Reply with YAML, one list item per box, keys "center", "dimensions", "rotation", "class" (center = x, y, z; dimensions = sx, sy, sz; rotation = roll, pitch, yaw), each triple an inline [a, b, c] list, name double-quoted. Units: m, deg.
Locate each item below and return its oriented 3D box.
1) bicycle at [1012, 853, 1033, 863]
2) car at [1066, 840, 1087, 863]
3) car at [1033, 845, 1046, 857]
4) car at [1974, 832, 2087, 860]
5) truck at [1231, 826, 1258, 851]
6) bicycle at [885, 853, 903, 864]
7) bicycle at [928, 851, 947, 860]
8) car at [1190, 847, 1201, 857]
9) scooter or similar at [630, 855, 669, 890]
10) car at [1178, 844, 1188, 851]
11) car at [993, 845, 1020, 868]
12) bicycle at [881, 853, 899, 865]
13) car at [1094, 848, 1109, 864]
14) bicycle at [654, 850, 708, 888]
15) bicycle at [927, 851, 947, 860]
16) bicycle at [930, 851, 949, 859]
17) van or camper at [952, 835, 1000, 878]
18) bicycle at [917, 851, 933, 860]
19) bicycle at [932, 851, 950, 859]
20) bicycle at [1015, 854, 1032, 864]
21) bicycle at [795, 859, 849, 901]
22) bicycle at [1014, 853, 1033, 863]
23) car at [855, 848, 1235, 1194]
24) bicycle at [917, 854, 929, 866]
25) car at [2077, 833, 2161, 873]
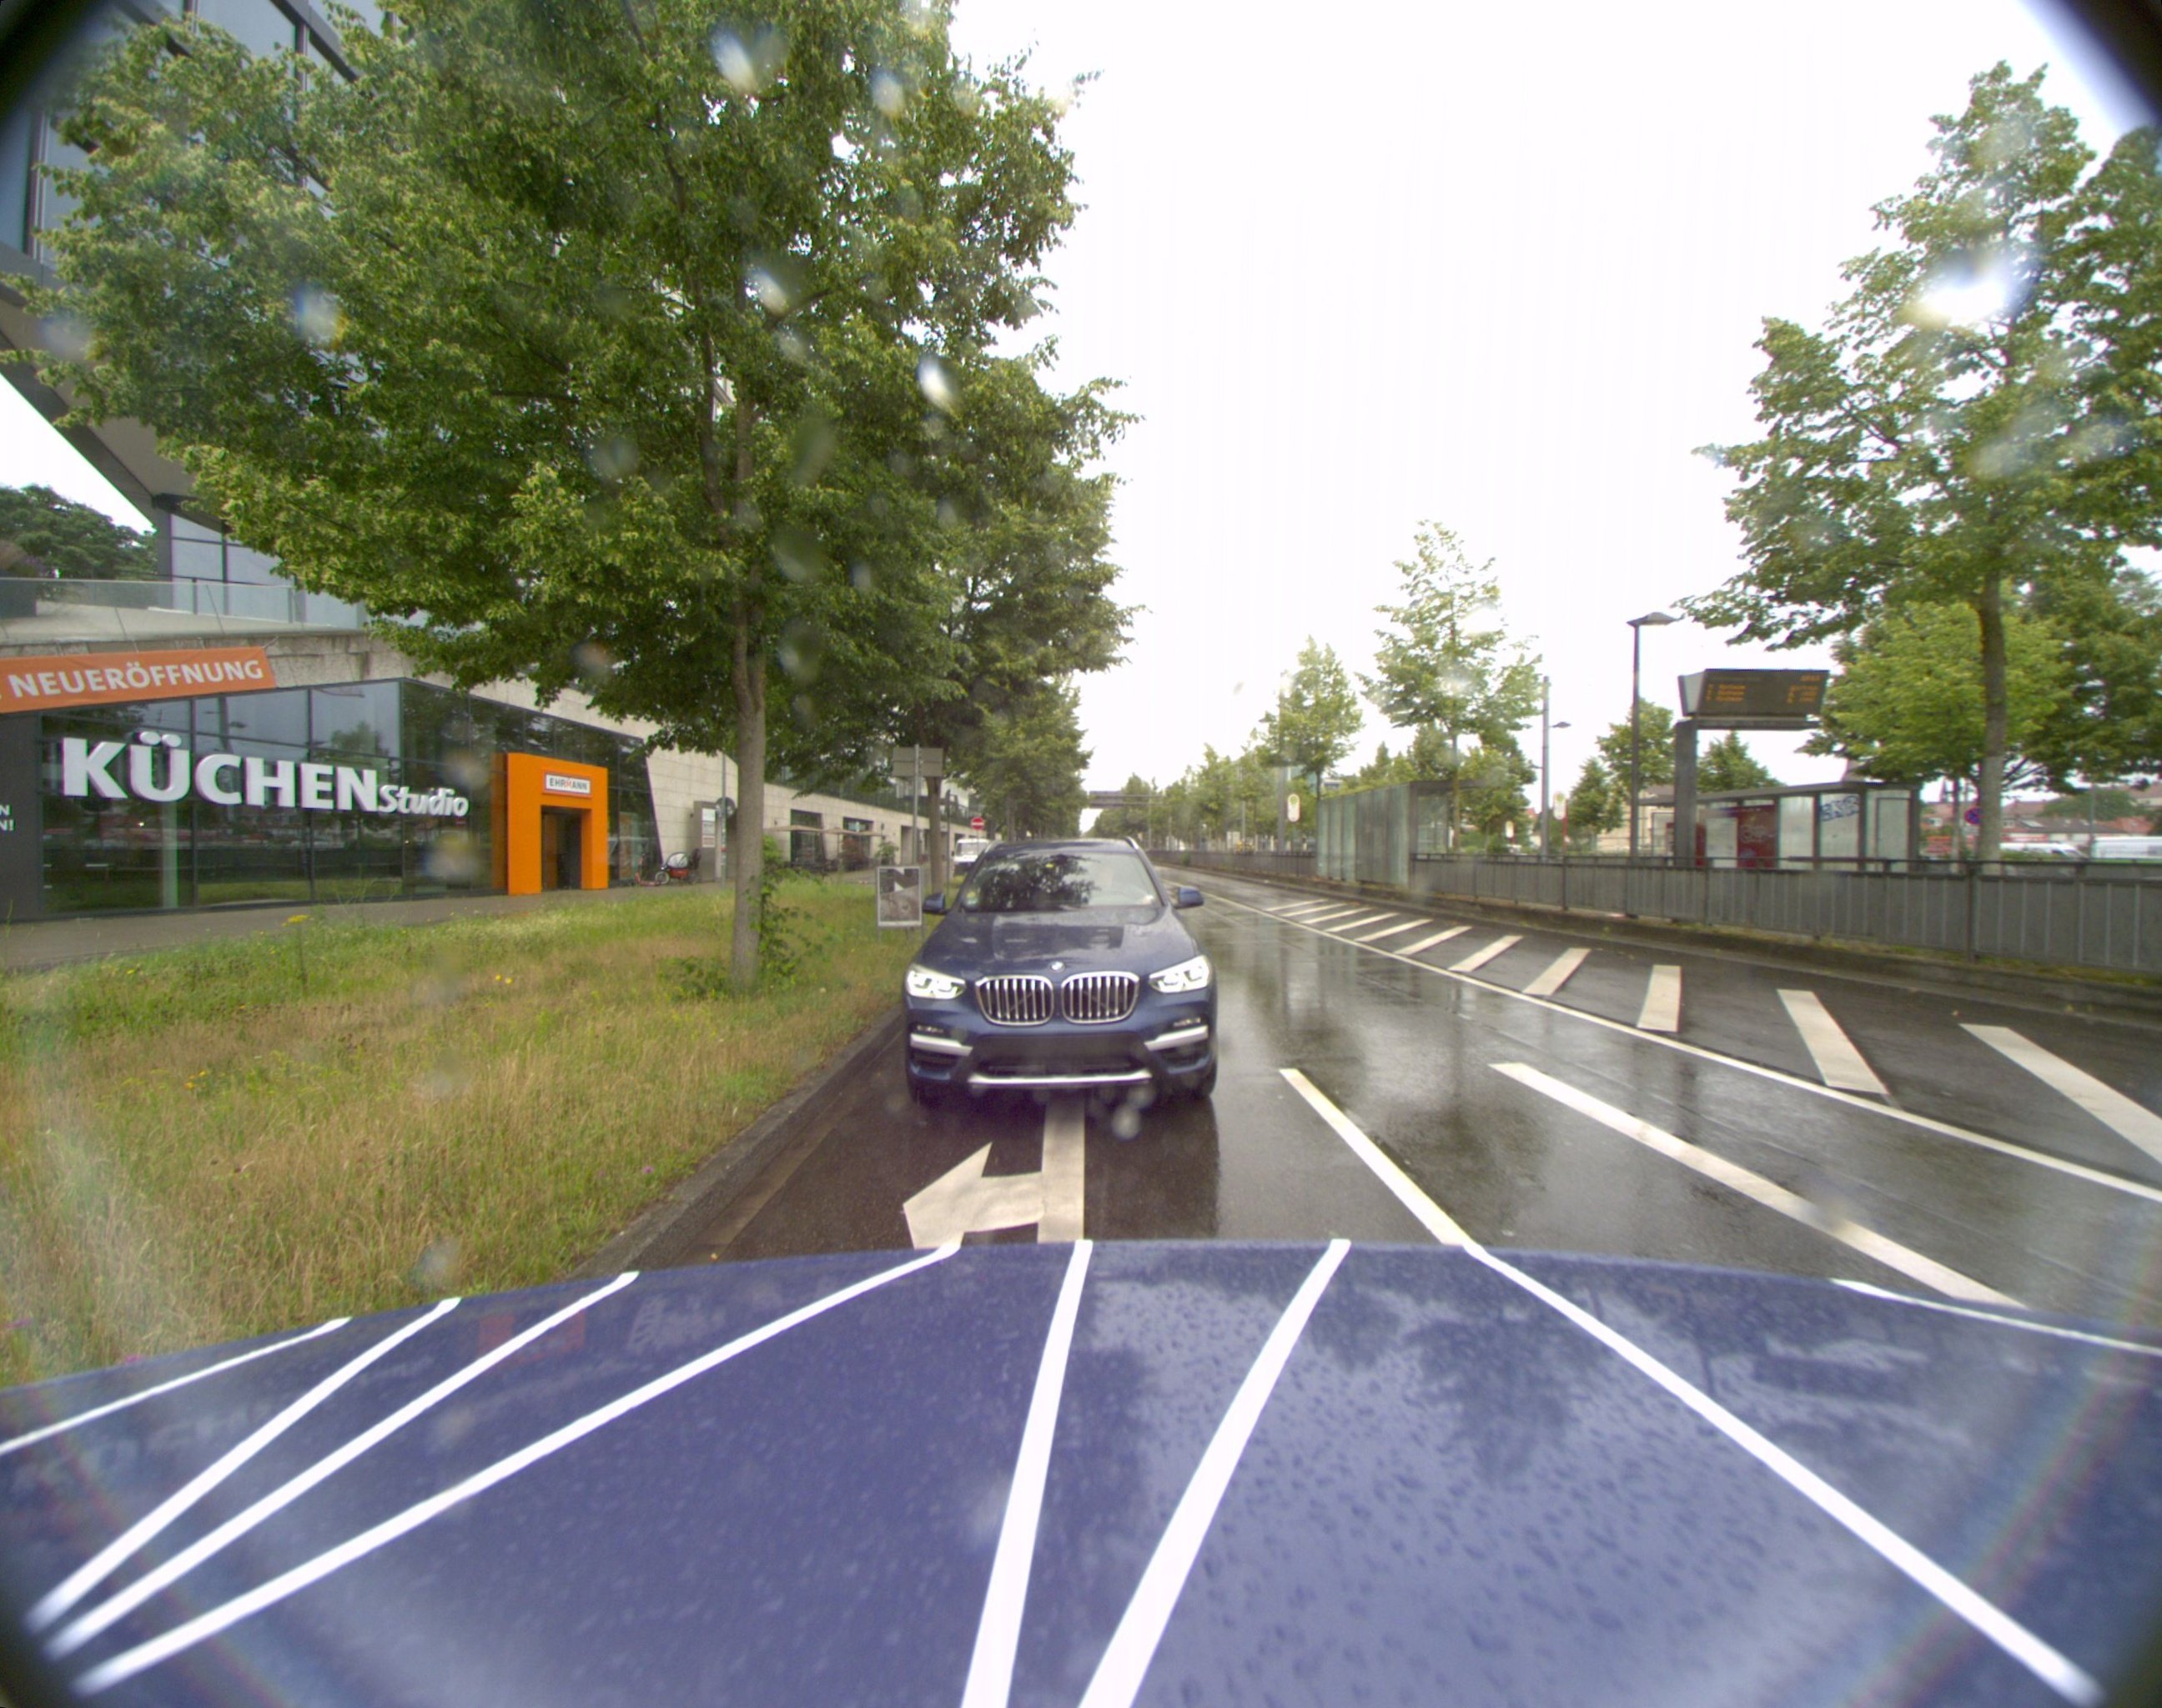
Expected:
- center: [-5.870, 0.403, 76.407]
  dimensions: [2.040, 0.940, 0.395]
  rotation: [-2, 2, -4]
  class: "bicycle"
- center: [-0.441, -0.280, 76.478]
  dimensions: [1.998, 2.232, 3.999]
  rotation: [-2, 1, 1]
  class: "car"
- center: [-6.041, -0.463, 111.473]
  dimensions: [1.659, 1.711, 3.999]
  rotation: [-2, 1, 0]
  class: "car"
- center: [84.241, -0.751, 67.572]
  dimensions: [2.000, 2.293, 6.138]
  rotation: [-3, 1, -9]
  class: "car"
- center: [25.687, -2.420, 119.817]
  dimensions: [2.693, 3.756, 9.182]
  rotation: [-2, 1, 3]
  class: "truck"
- center: [-15.337, 0.372, 62.145]
  dimensions: [0.396, 0.940, 2.024]
  rotation: [-4, 2, -45]
  class: "bicycle"
- center: [-15.871, 0.128, 84.269]
  dimensions: [2.029, 0.940, 0.395]
  rotation: [1, 1, -4]
  class: "bicycle"
- center: [22.832, -0.443, 151.684]
  dimensions: [1.761, 2.002, 4.000]
  rotation: [0, 1, 1]
  class: "car"
- center: [-15.702, 0.660, 27.664]
  dimensions: [0.342, 1.221, 1.242]
  rotation: [-2, 2, 19]
  class: "scooter or similar"
- center: [26.649, -1.704, 198.967]
  dimensions: [1.999, 1.736, 3.998]
  rotation: [-2, 1, -2]
  class: "car"
- center: [-6.035, 0.157, 62.257]
  dimensions: [1.746, 1.749, 4.847]
  rotation: [-1, 1, 0]
  class: "car"
- center: [-15.414, 0.391, 61.355]
  dimensions: [0.396, 0.940, 2.024]
  rotation: [-4, 2, -45]
  class: "bicycle"
- center: [2.996, 0.282, 111.665]
  dimensions: [1.998, 2.232, 3.999]
  rotation: [-2, 1, 1]
  class: "car"
- center: [-15.479, 0.541, 29.491]
  dimensions: [0.734, 1.394, 2.425]
  rotation: [1, 0, 1]
  class: "bicycle"
- center: [-15.839, 0.134, 83.625]
  dimensions: [2.029, 0.940, 0.395]
  rotation: [1, 1, -4]
  class: "bicycle"
- center: [-15.910, 0.102, 85.410]
  dimensions: [2.029, 0.940, 0.395]
  rotation: [1, 1, -4]
  class: "bicycle"
- center: [-5.893, 0.095, 43.317]
  dimensions: [2.030, 2.279, 5.458]
  rotation: [-1, 1, 0]
  class: "van or camper"
- center: [-16.336, 0.189, 79.683]
  dimensions: [1.657, 0.940, 0.347]
  rotation: [1, 2, 19]
  class: "bicycle"
- center: [-15.993, 0.092, 86.656]
  dimensions: [2.029, 0.940, 0.395]
  rotation: [1, 1, -4]
  class: "bicycle"
- center: [-5.559, 0.461, 73.653]
  dimensions: [1.649, 0.940, 0.395]
  rotation: [-2, 2, -4]
  class: "bicycle"
- center: [-8.613, 0.858, 25.276]
  dimensions: [1.843, 1.338, 0.533]
  rotation: [-1, 0, 26]
  class: "bicycle"
- center: [-5.729, 0.416, 75.454]
  dimensions: [1.882, 0.940, 0.395]
  rotation: [-2, 2, -4]
  class: "bicycle"
- center: [-0.146, 0.822, 5.761]
  dimensions: [1.816, 1.603, 3.999]
  rotation: [-2, 1, 1]
  class: "car"
- center: [-13.215, 0.465, 63.567]
  dimensions: [0.402, 0.940, 1.859]
  rotation: [-1, 1, 8]
  class: "bicycle"
- center: [70.112, -0.089, 49.276]
  dimensions: [1.999, 2.448, 6.744]
  rotation: [-2, 1, -4]
  class: "car"
